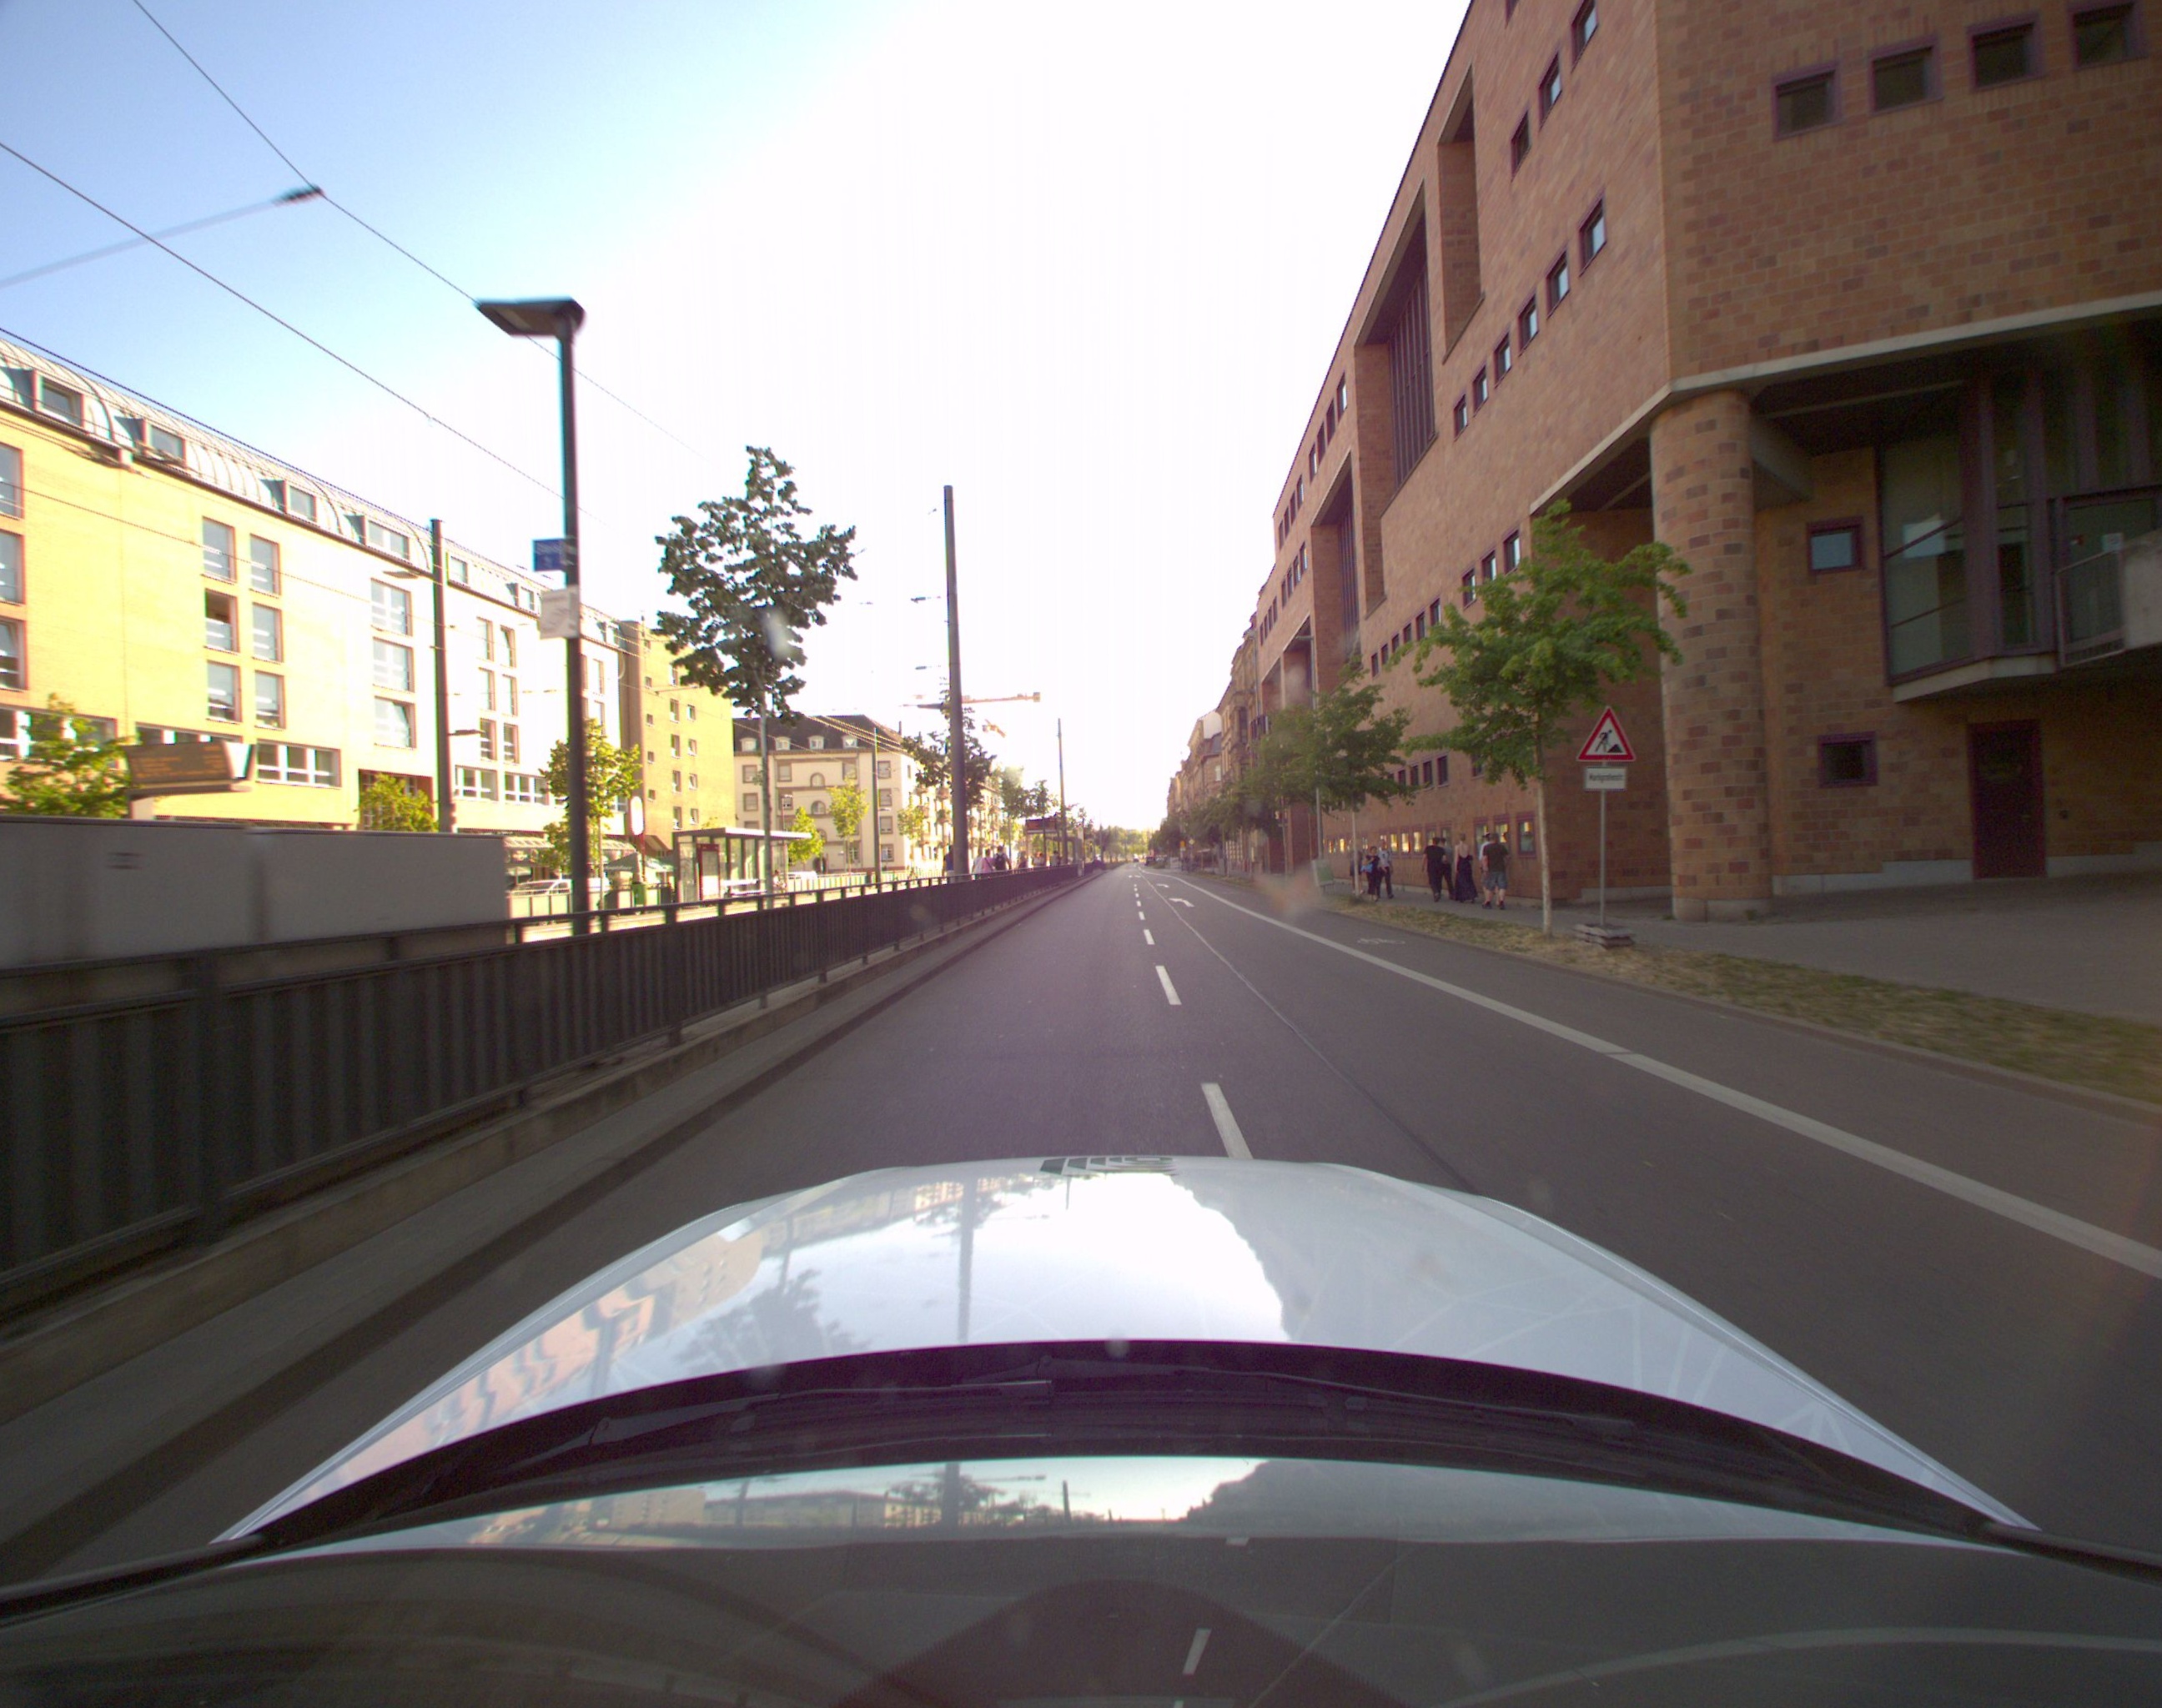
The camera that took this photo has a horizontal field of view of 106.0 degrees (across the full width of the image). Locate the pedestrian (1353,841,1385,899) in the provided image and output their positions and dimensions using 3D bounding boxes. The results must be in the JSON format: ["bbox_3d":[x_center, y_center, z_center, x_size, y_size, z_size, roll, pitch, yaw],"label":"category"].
[{"bbox_3d":[8.287,0.462,23.471,0.516,1.605,0.702,-2,-1,-10],"label":"pedestrian"}]

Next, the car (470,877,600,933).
[{"bbox_3d":[-21.753,1.969,32.684,1.876,1.866,4.323,-3,0,6],"label":"car"}]

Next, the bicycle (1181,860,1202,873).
[{"bbox_3d":[10.189,1.163,75.189,1.820,1.064,0.663,-5,0,-2],"label":"bicycle"}]

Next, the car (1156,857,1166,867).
[{"bbox_3d":[14.207,1.386,145.231,1.629,1.486,4.219,-4,0,6],"label":"car"}]

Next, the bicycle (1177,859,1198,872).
[{"bbox_3d":[10.371,1.119,79.420,1.820,1.064,0.663,-5,0,-2],"label":"bicycle"}]

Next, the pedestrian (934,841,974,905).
[{"bbox_3d":[-3.437,0.507,22.153,0.884,1.672,0.672,-3,-1,2],"label":"pedestrian"}]

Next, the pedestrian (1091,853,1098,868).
[{"bbox_3d":[1.477,0.692,86.444,0.652,1.643,0.868,-2,-2,4],"label":"pedestrian"}]

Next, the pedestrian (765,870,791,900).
[{"bbox_3d":[-12.707,1.303,34.170,0.670,1.189,0.907,-3,-1,3],"label":"pedestrian"}]

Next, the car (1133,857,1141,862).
[{"bbox_3d":[17.507,1.762,253.574,1.786,1.464,4.012,-3,-1,11],"label":"car"}]

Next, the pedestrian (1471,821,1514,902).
[{"bbox_3d":[9.245,0.164,18.307,0.726,1.756,0.699,-3,-1,22],"label":"pedestrian"}]

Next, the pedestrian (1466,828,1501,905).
[{"bbox_3d":[9.471,0.292,19.185,0.532,1.756,0.698,-3,-1,14],"label":"pedestrian"}]

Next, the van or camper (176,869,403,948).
[{"bbox_3d":[-27.276,1.767,28.454,1.984,2.169,5.624,-3,1,5],"label":"van or camper"}]

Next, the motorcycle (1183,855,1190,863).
[{"bbox_3d":[18.128,0.889,139.955,0.791,1.308,2.855,-5,0,3],"label":"motorcycle"}]

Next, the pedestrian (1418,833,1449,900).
[{"bbox_3d":[9.361,0.327,21.628,0.534,1.756,0.465,-3,-1,2],"label":"pedestrian"}]

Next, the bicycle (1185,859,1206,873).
[{"bbox_3d":[10.731,1.125,76.536,1.820,1.064,0.663,-5,0,-2],"label":"bicycle"}]

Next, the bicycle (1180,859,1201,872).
[{"bbox_3d":[10.496,1.125,77.936,1.820,1.064,0.663,-5,0,-2],"label":"bicycle"}]

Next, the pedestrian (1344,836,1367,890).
[{"bbox_3d":[8.994,0.295,26.681,0.534,1.756,0.422,-3,-1,2],"label":"pedestrian"}]

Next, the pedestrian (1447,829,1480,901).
[{"bbox_3d":[9.583,0.277,20.418,0.532,1.756,0.698,-3,-1,14],"label":"pedestrian"}]

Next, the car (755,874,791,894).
[{"bbox_3d":[-28.746,2.783,76.138,1.832,1.585,4.154,-3,0,-2],"label":"car"}]

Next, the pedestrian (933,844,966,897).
[{"bbox_3d":[-3.764,0.465,23.270,0.679,1.483,0.830,-2,-1,6],"label":"pedestrian"}]

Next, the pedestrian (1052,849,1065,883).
[{"bbox_3d":[-1.103,0.589,40.034,0.503,1.679,0.652,-3,-1,3],"label":"pedestrian"}]

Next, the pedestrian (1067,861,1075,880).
[{"bbox_3d":[-0.663,1.058,53.080,0.406,1.190,0.428,-2,-1,-9],"label":"pedestrian"}]

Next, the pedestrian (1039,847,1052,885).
[{"bbox_3d":[-1.651,0.565,37.990,0.503,1.732,0.652,-3,-1,3],"label":"pedestrian"}]

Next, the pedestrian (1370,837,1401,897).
[{"bbox_3d":[8.965,0.370,23.993,0.569,1.713,0.641,-3,-1,-2],"label":"pedestrian"}]

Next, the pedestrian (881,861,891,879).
[{"bbox_3d":[-21.982,1.819,91.763,0.797,2.013,0.626,-3,0,3],"label":"pedestrian"}]

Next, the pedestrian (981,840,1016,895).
[{"bbox_3d":[-2.601,0.438,25.919,0.884,1.672,1.096,-3,-1,2],"label":"pedestrian"}]

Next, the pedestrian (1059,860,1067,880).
[{"bbox_3d":[-1.250,1.116,56.118,0.428,1.385,0.406,-2,-1,-9],"label":"pedestrian"}]

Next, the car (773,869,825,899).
[{"bbox_3d":[-21.856,2.277,63.348,1.981,2.013,4.158,-3,0,9],"label":"car"}]

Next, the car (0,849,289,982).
[{"bbox_3d":[-19.943,1.143,16.863,2.037,2.358,4.924,-3,0,3],"label":"car"}]

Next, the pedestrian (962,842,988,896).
[{"bbox_3d":[-3.400,0.473,26.139,0.654,1.672,0.672,-3,-1,2],"label":"pedestrian"}]

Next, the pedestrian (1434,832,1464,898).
[{"bbox_3d":[10.011,0.290,22.151,0.534,1.756,0.422,-3,-1,2],"label":"pedestrian"}]

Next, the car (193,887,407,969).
[{"bbox_3d":[-22.369,2.038,23.621,1.879,1.866,4.318,-3,0,2],"label":"car"}]

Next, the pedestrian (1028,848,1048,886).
[{"bbox_3d":[-1.791,0.547,34.280,0.670,1.562,0.907,-3,-1,3],"label":"pedestrian"}]

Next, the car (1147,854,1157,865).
[{"bbox_3d":[14.109,1.135,161.820,1.876,1.937,4.480,-2,0,5],"label":"car"}]

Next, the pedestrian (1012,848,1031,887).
[{"bbox_3d":[-2.733,0.622,37.674,0.716,1.732,0.652,-3,-1,3],"label":"pedestrian"}]
